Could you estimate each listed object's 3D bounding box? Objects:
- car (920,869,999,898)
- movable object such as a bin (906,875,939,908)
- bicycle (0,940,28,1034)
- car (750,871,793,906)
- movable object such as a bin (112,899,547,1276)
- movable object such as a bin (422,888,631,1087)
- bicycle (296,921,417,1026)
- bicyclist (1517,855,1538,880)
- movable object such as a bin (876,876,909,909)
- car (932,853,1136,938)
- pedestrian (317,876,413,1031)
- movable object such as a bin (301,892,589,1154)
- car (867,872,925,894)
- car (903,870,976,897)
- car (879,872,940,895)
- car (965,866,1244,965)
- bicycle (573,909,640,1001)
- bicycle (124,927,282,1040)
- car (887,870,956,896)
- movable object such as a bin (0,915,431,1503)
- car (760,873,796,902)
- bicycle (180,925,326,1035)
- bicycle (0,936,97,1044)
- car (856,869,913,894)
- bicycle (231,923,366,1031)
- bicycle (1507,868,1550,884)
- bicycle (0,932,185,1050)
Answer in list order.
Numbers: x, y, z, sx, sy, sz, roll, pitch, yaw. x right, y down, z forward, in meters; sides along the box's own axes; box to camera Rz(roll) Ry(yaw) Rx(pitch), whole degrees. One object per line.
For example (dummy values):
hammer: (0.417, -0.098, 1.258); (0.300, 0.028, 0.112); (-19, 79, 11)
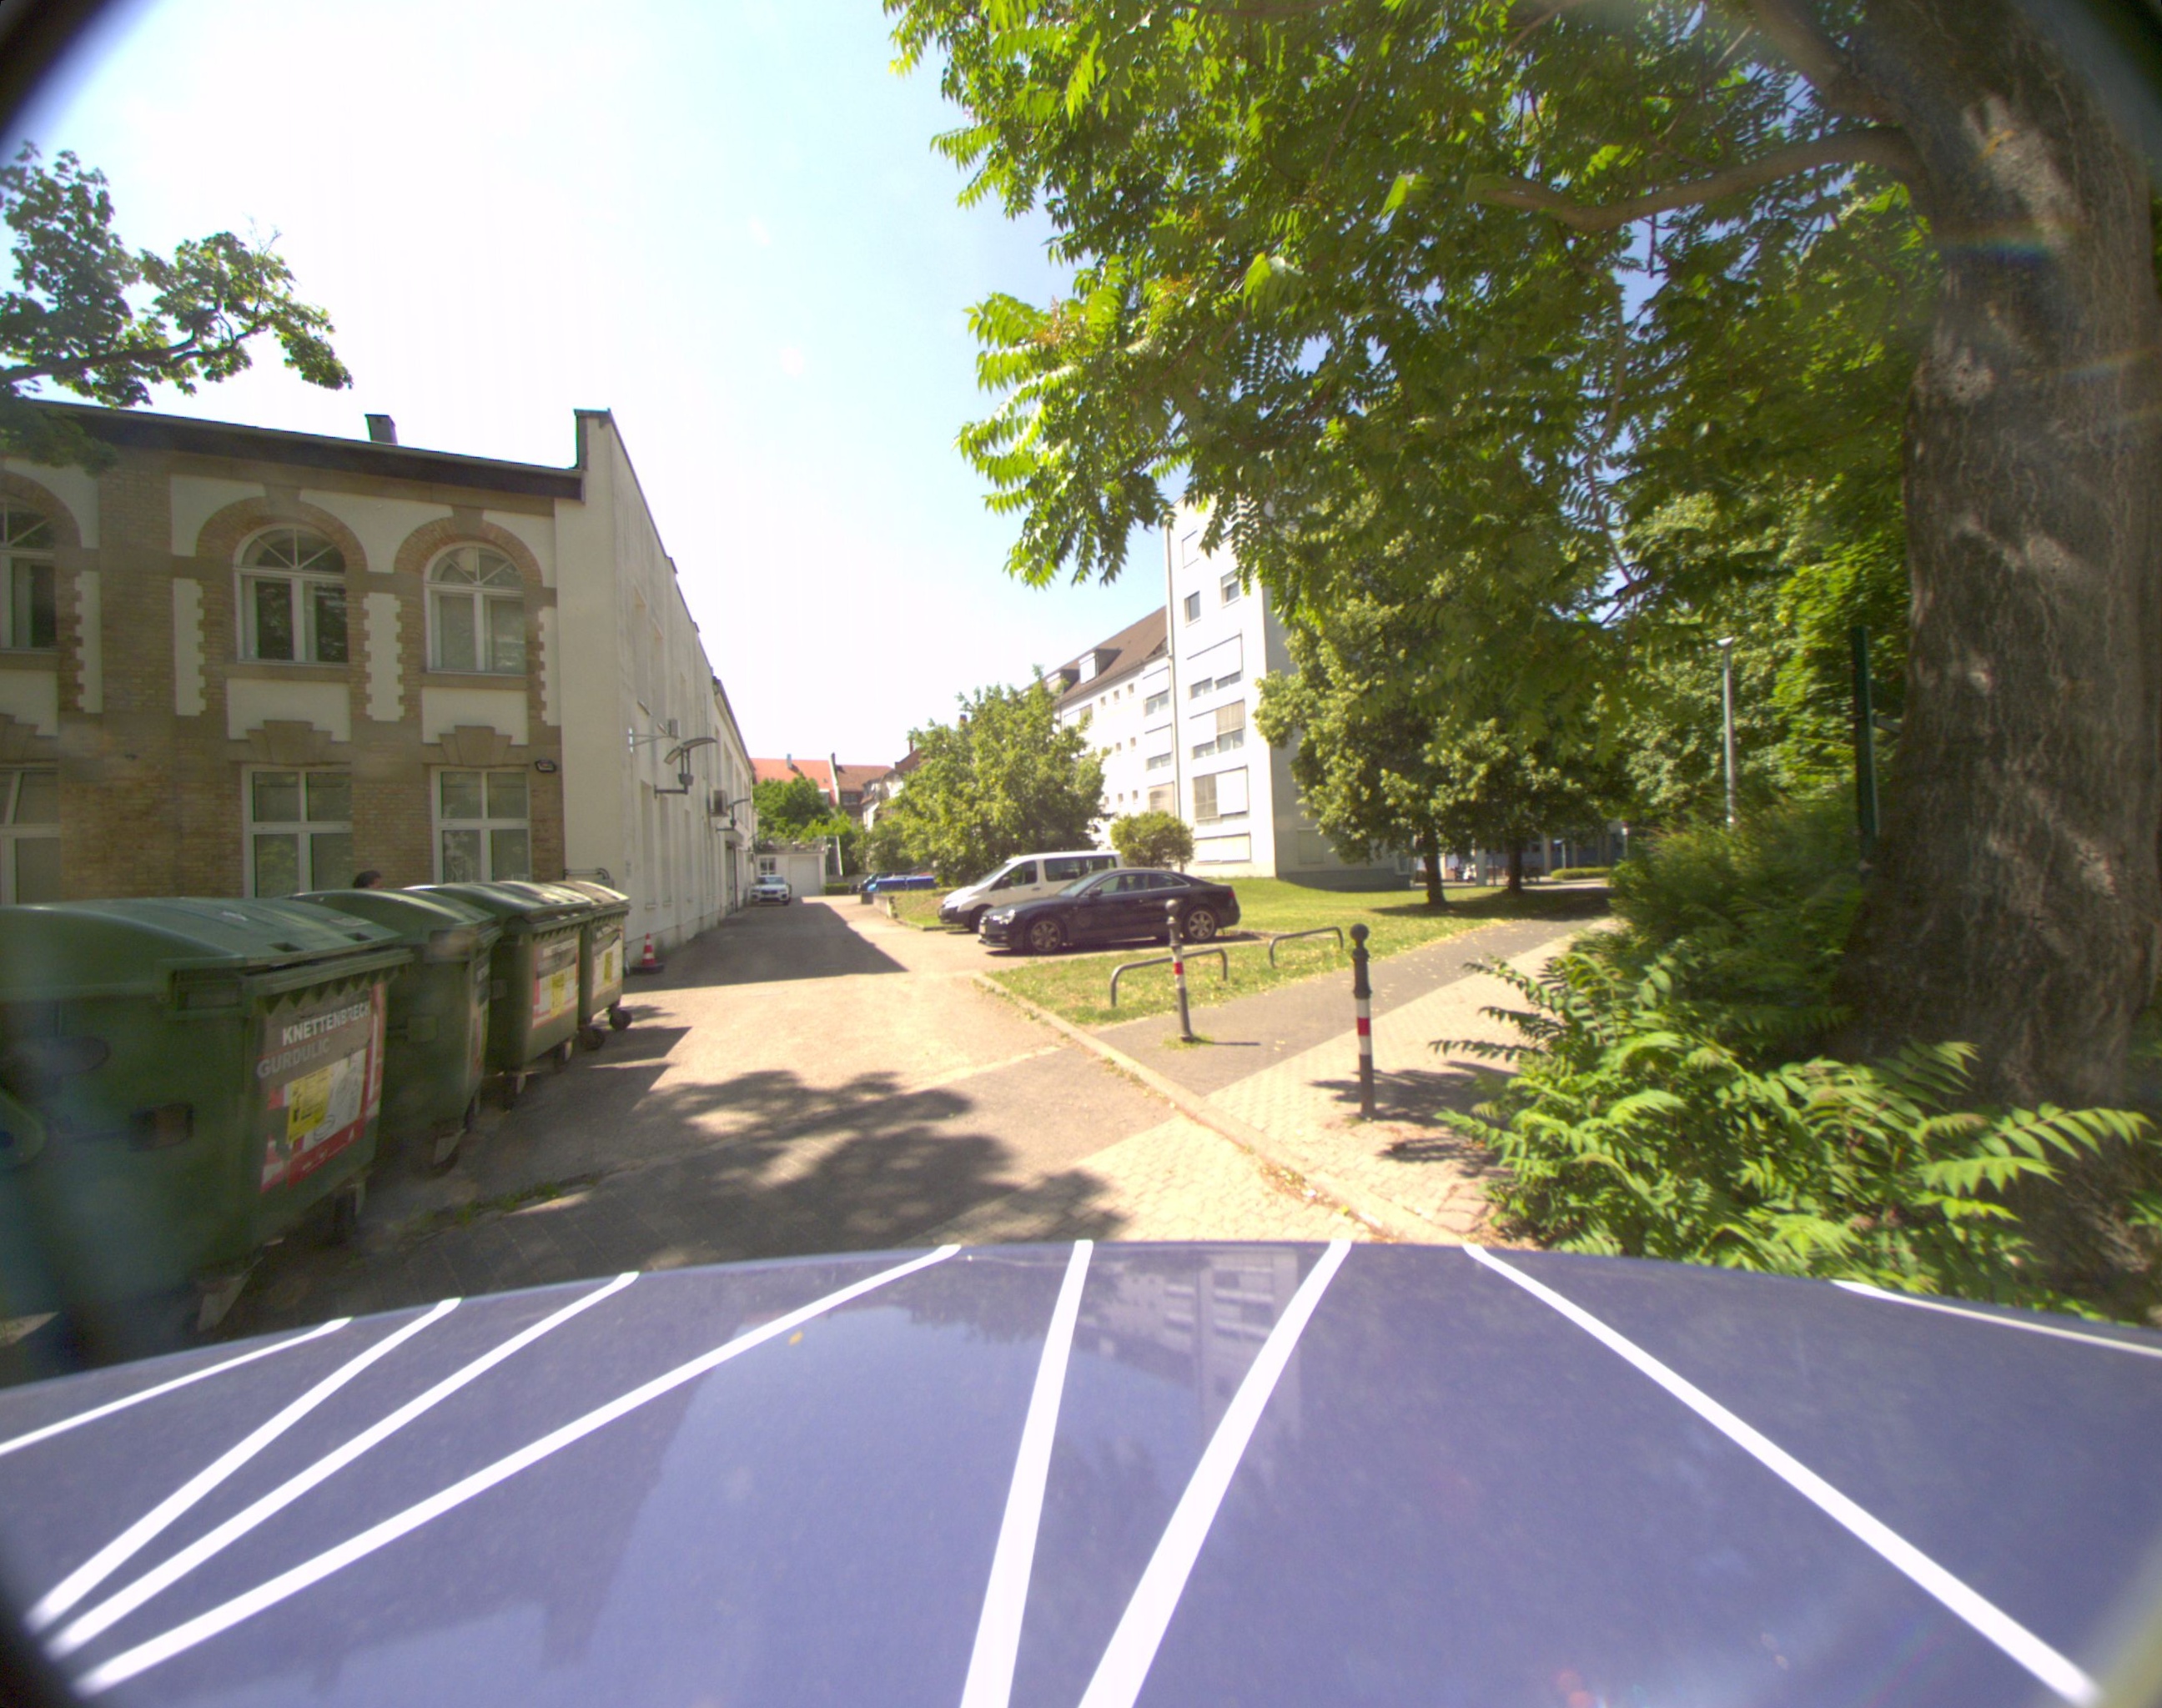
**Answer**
car: (-7.378, 1.784, 46.329); (4.452, 1.559, 1.610); (-2, 0, -25)
movable object such as a bin: (-7.095, 1.655, 33.999); (1.273, 1.380, 1.094); (-2, 0, -20)
bicycle: (-12.863, 1.593, 8.424); (0.406, 1.095, 1.823); (-2, 0, -20)
car: (-17.522, 1.918, 43.193); (2.014, 1.792, 4.719); (-2, 0, -20)
movable object such as a bin: (-3.674, 1.010, 3.955); (1.080, 1.449, 1.375); (-2, 0, -19)
movable object such as a bin: (-4.747, 1.059, 6.662); (1.080, 1.449, 1.375); (-2, 0, -19)
bicycle: (-9.333, 1.487, 9.865); (0.406, 1.095, 1.823); (-2, 0, -20)
bicyclist: (19.859, 0.607, 33.812); (0.523, 1.038, 0.517); (-1, -3, -18)
movable object such as a bin: (-8.307, 1.692, 33.528); (1.273, 1.380, 1.094); (-2, 0, -20)
car: (-1.246, 0.988, 19.687); (4.867, 1.872, 2.064); (-2, 0, -18)
pedestrian: (-8.521, 1.145, 9.068); (0.553, 1.738, 0.688); (-2, 0, -19)
movable object such as a bin: (-4.277, 1.037, 5.300); (1.080, 1.449, 1.375); (-2, 0, -19)
car: (-14.667, 2.303, 60.330); (4.230, 1.559, 1.610); (-2, 0, -25)
car: (-9.049, 1.850, 48.593); (4.230, 1.559, 1.610); (-2, 0, -25)
car: (-13.041, 2.217, 57.675); (4.230, 1.559, 1.610); (-2, 0, -25)
car: (0.357, 1.012, 13.360); (4.447, 1.371, 2.021); (-2, -2, -18)
bicycle: (-6.731, 1.385, 10.852); (0.406, 1.095, 1.823); (-2, 0, -20)
bicycle: (-10.710, 1.528, 9.352); (0.406, 1.095, 1.823); (-2, 0, -20)
car: (-10.802, 1.956, 51.463); (4.230, 1.559, 1.610); (-2, 0, -25)
movable object such as a bin: (-3.244, 1.003, 2.601); (1.080, 1.449, 1.375); (-2, 0, -19)
car: (-20.468, 2.210, 51.471); (2.014, 1.792, 4.719); (-2, 0, -20)
bicycle: (-10.292, 1.516, 9.525); (0.406, 1.095, 1.823); (-2, 0, -20)
bicycle: (-12.344, 1.578, 8.679); (0.406, 1.095, 1.823); (-2, 0, -20)
car: (-16.264, 2.242, 62.868); (4.230, 1.812, 2.006); (-2, 0, -25)
bicycle: (-9.873, 1.503, 9.668); (0.406, 1.095, 1.823); (-2, 0, -20)
bicycle: (19.883, 0.988, 33.747); (1.618, 0.637, 0.733); (-2, -3, -19)
bicycle: (-11.644, 1.557, 9.029); (0.406, 1.095, 1.823); (-2, 0, -20)
